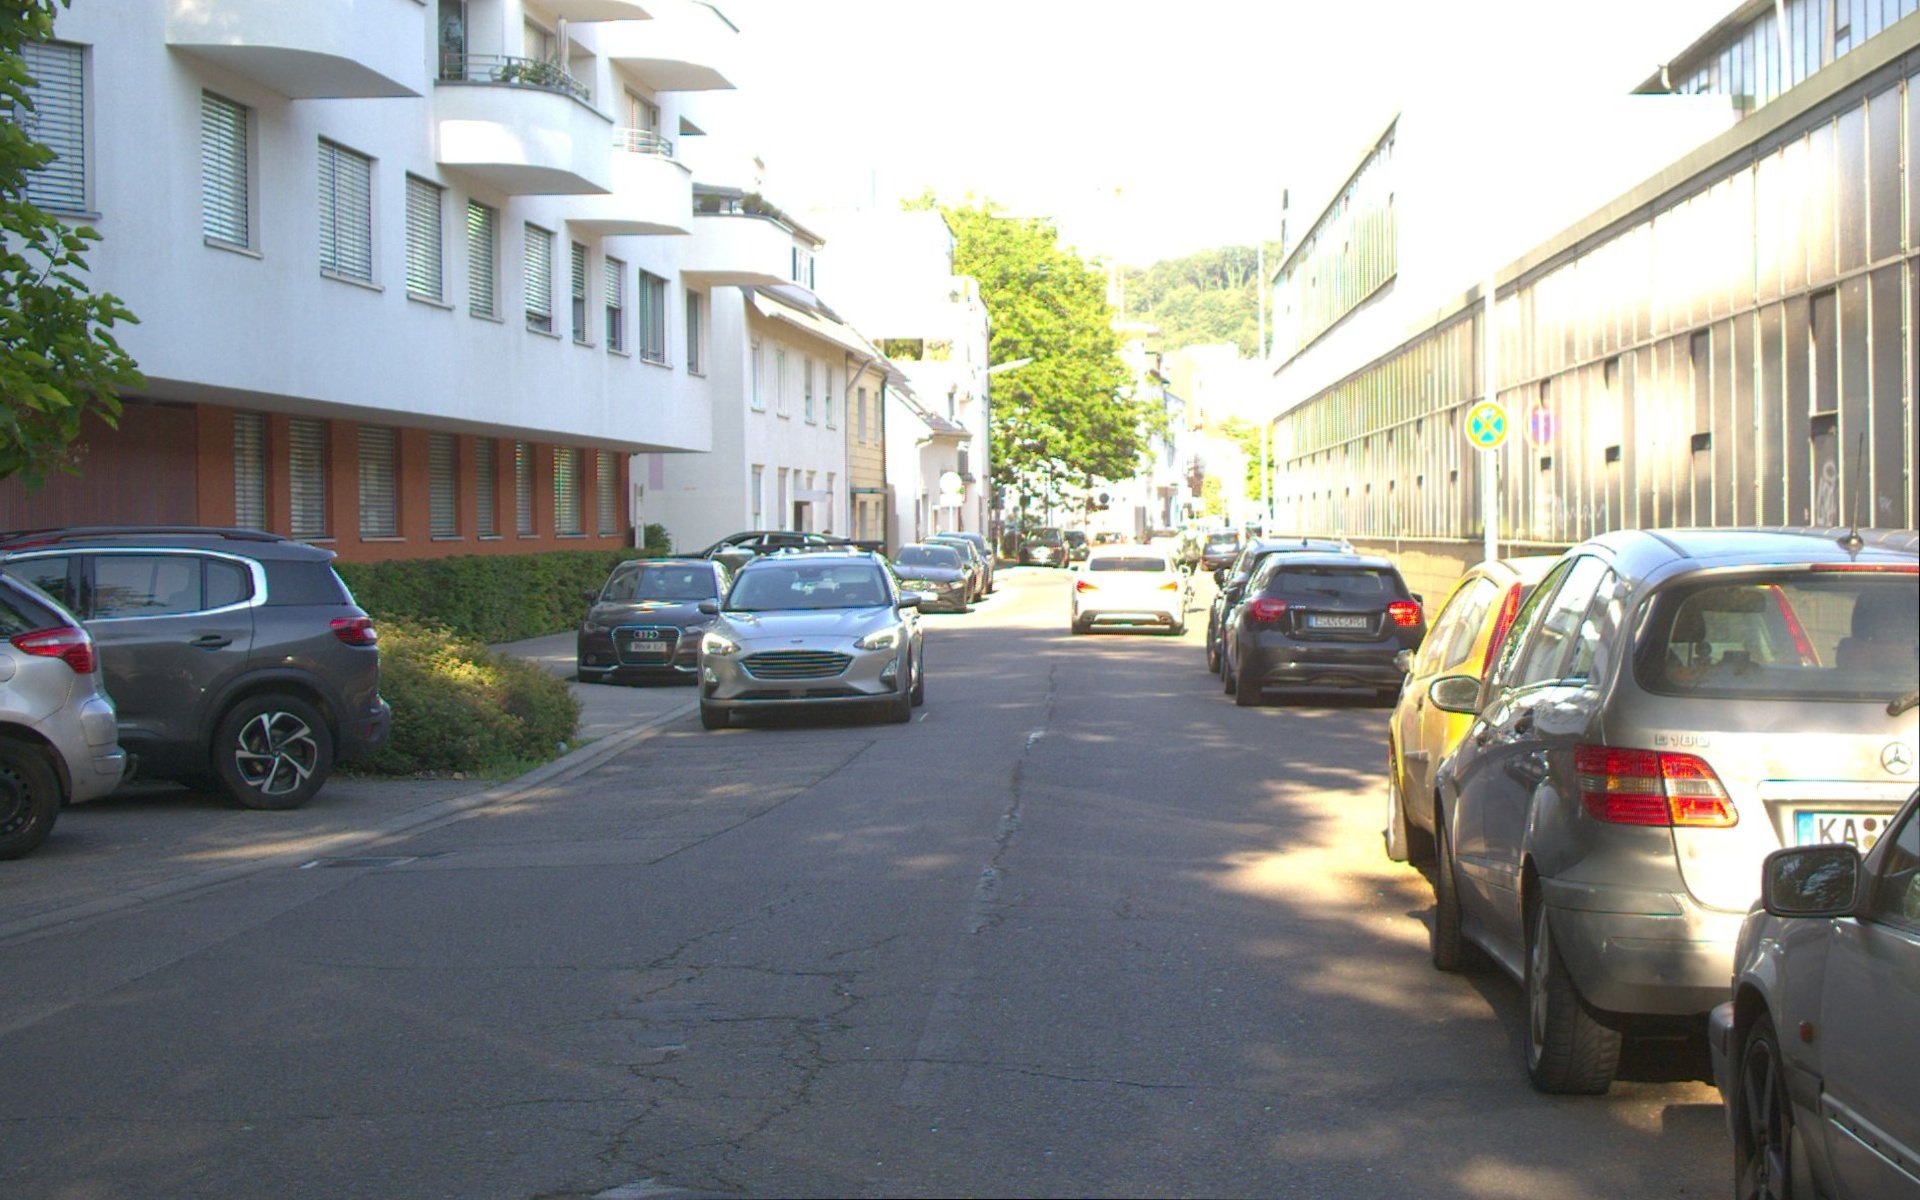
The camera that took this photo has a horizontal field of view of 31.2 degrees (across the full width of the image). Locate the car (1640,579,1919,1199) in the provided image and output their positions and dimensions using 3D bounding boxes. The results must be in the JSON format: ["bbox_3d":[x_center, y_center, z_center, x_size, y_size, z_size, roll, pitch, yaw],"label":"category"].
[{"bbox_3d":[2.401,0.739,5.088,1.900,1.488,4.529,0,1,0],"label":"car"}]

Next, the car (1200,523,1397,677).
[{"bbox_3d":[3.735,-0.033,38.578,1.807,1.581,4.405,1,1,1],"label":"car"}]

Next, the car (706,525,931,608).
[{"bbox_3d":[-2.770,-0.668,68.070,4.321,1.530,1.690,1,1,1],"label":"car"}]

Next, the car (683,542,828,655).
[{"bbox_3d":[-3.023,-0.059,51.646,1.857,1.581,4.621,1,1,0],"label":"car"}]

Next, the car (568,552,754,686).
[{"bbox_3d":[-3.406,0.184,39.730,1.674,1.428,3.770,1,1,2],"label":"car"}]

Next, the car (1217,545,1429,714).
[{"bbox_3d":[3.453,0.231,33.397,1.751,1.486,4.621,2,1,3],"label":"car"}]

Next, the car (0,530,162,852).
[{"bbox_3d":[-6.360,0.444,17.794,4.125,1.634,1.778,0,1,-21],"label":"car"}]

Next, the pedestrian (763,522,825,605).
[{"bbox_3d":[-3.718,-0.822,77.187,0.862,1.812,1.130,4,2,27],"label":"pedestrian"}]

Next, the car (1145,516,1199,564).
[{"bbox_3d":[7.976,-2.282,129.726,1.853,1.785,4.607,0,1,2],"label":"car"}]

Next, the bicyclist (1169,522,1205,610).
[{"bbox_3d":[4.680,-0.706,70.828,0.698,1.784,1.040,0,1,5],"label":"bicyclist"}]

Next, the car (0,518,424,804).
[{"bbox_3d":[-5.425,0.342,20.941,3.946,1.656,1.700,0,1,-25],"label":"car"}]

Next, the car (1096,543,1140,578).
[{"bbox_3d":[6.890,-1.718,149.713,1.842,1.486,4.144,0,1,3],"label":"car"}]

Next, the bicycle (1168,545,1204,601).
[{"bbox_3d":[4.670,-0.570,70.808,0.698,1.126,2.402,0,1,5],"label":"bicycle"}]

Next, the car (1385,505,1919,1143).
[{"bbox_3d":[2.421,0.547,10.976,1.750,1.629,4.309,0,1,2],"label":"car"}]

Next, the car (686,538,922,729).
[{"bbox_3d":[-1.303,0.232,30.565,1.899,1.531,4.622,-1,1,-1],"label":"car"}]

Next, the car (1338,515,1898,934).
[{"bbox_3d":[2.793,0.458,15.458,1.750,1.629,4.002,0,1,0],"label":"car"}]

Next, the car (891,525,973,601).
[{"bbox_3d":[-0.596,-0.804,73.926,1.684,1.530,4.335,1,1,0],"label":"car"}]

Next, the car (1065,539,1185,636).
[{"bbox_3d":[2.645,-0.232,55.190,1.842,1.486,4.144,0,1,3],"label":"car"}]

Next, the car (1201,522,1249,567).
[{"bbox_3d":[10.003,-2.093,130.051,1.629,1.581,4.069,-3,1,3],"label":"car"}]

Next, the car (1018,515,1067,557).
[{"bbox_3d":[3.560,-2.775,147.788,1.853,1.785,4.607,0,2,5],"label":"car"}]
